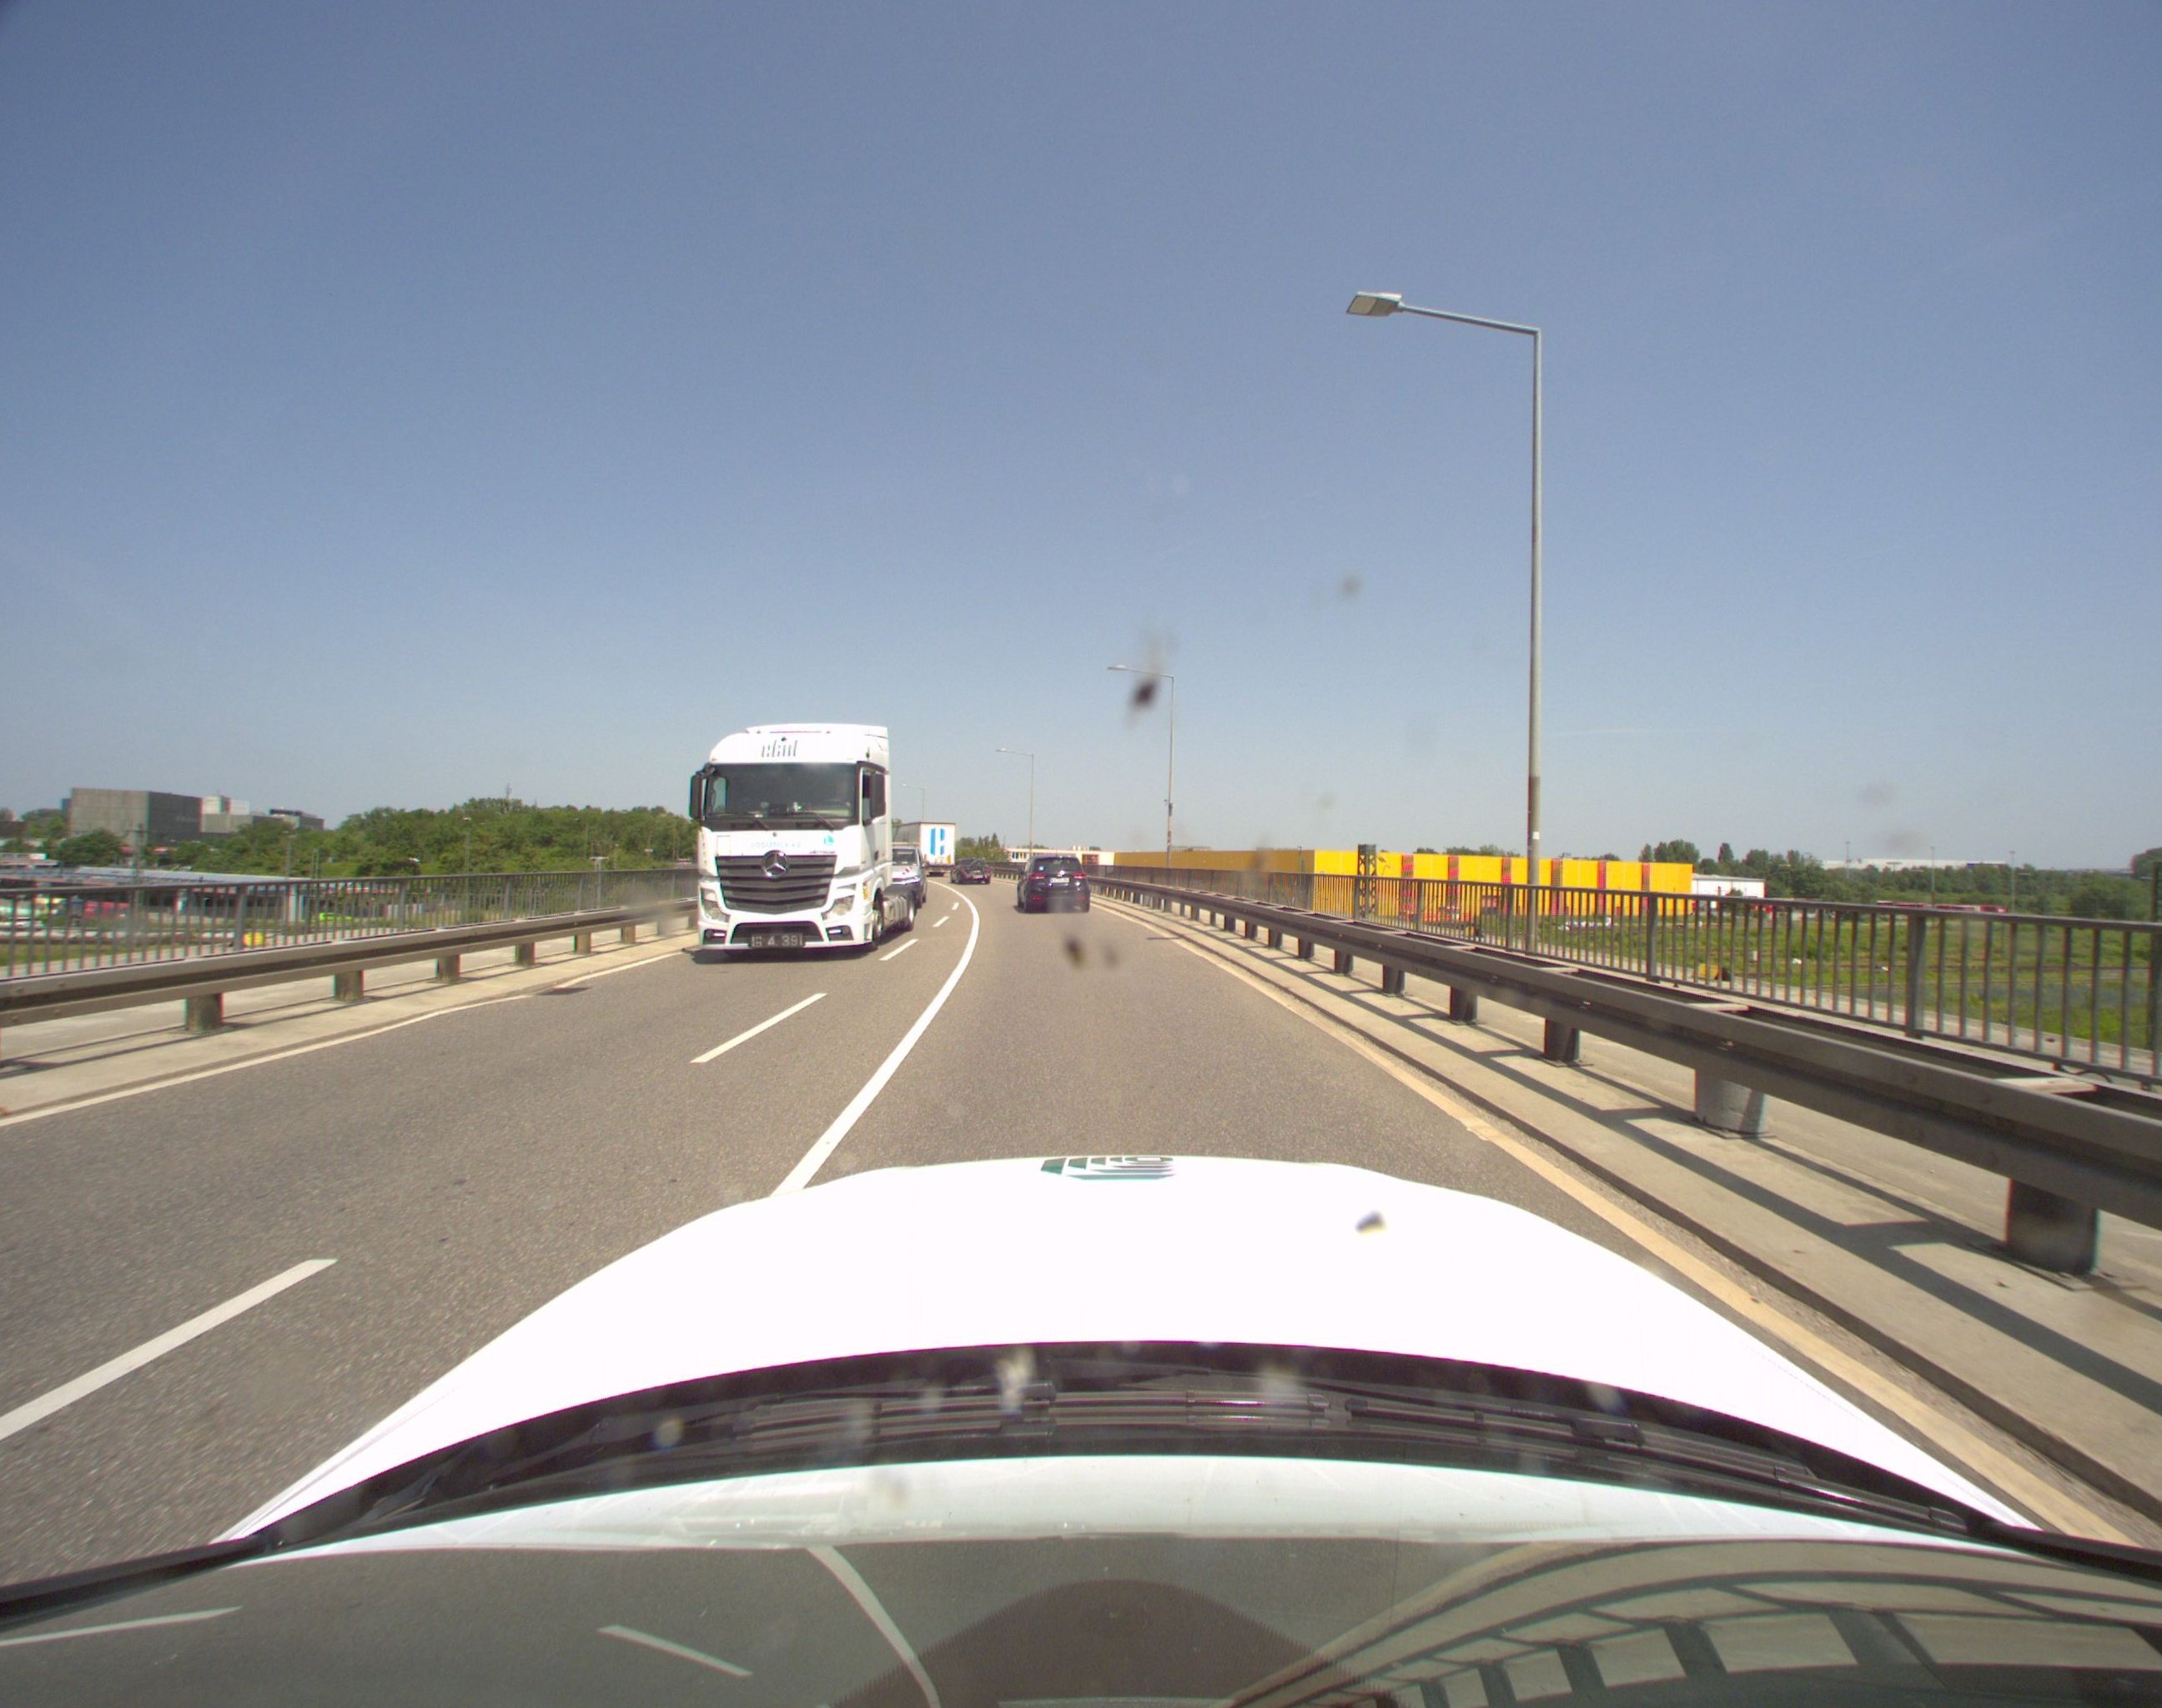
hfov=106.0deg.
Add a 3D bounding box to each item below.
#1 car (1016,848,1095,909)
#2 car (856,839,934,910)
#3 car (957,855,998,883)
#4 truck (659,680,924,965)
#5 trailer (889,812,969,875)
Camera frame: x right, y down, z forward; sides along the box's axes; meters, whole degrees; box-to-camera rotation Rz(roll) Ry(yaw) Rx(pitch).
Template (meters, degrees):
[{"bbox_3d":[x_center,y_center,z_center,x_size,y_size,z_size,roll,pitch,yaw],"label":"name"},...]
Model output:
[{"bbox_3d":[-0.815,0.643,23.296,1.920,1.574,3.881,0,0,-7],"label":"car"},{"bbox_3d":[-5.904,0.610,26.313,1.859,1.999,4.802,-3,0,-7],"label":"car"},{"bbox_3d":[-5.706,0.779,44.590,2.012,1.429,3.762,0,0,-11],"label":"car"},{"bbox_3d":[-4.650,-0.433,14.545,2.699,3.991,6.180,0,0,-2],"label":"truck"},{"bbox_3d":[-11.947,-0.738,62.806,3.586,4.384,11.350,0,0,-24],"label":"trailer"}]
